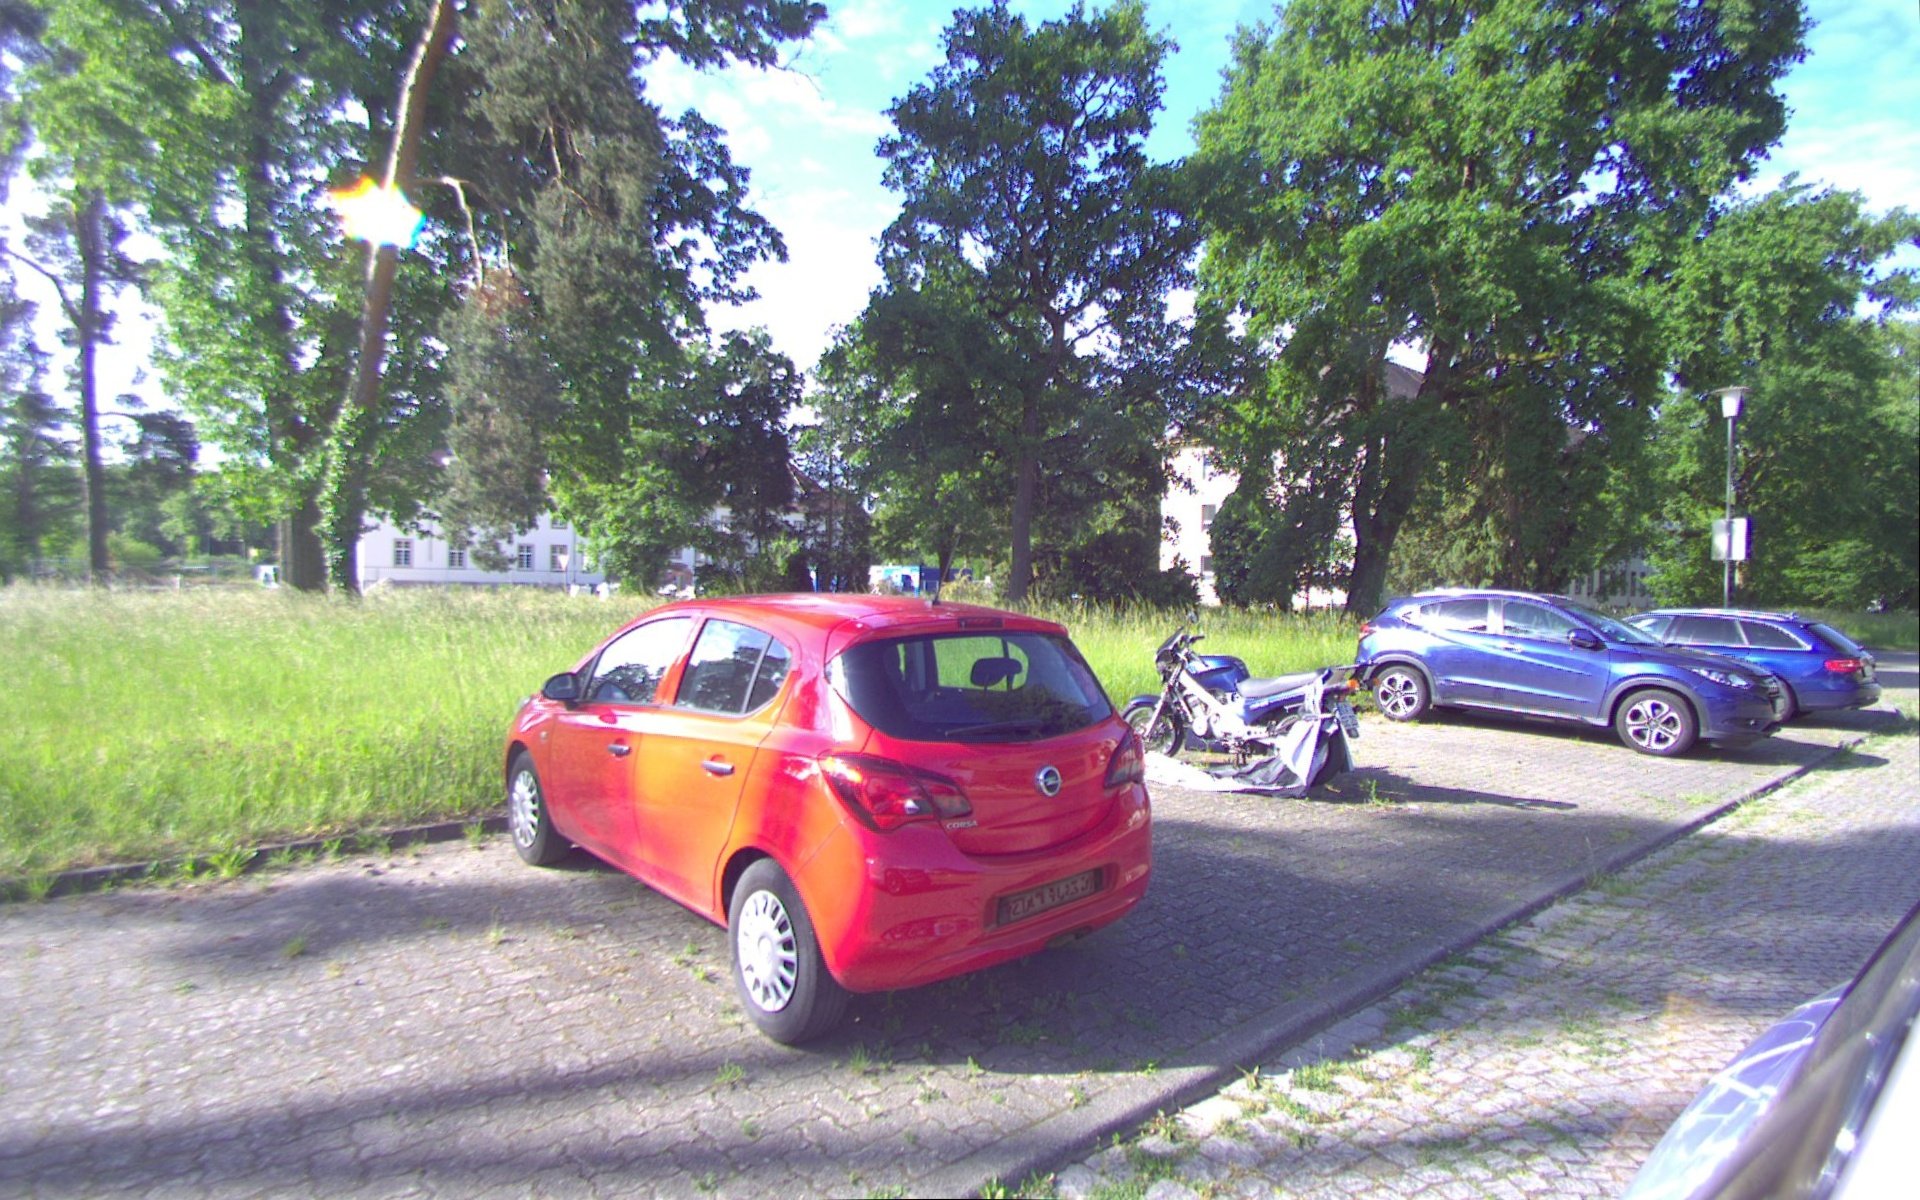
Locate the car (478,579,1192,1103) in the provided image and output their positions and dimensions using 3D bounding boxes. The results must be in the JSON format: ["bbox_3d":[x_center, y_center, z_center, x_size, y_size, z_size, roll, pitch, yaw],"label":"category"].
[{"bbox_3d":[-0.971,0.667,4.949,1.513,1.514,3.994,0,1,-41],"label":"car"}]

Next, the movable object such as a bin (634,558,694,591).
[{"bbox_3d":[-27.592,-2.360,94.448,4.975,2.937,2.182,0,1,-34],"label":"movable object such as a bin"}]

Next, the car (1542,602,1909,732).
[{"bbox_3d":[10.519,0.803,14.132,1.716,1.485,3.808,0,1,-39],"label":"car"}]

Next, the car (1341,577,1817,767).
[{"bbox_3d":[6.730,0.625,11.428,1.622,1.618,4.271,0,2,-41],"label":"car"}]

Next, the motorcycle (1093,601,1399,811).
[{"bbox_3d":[2.171,0.722,8.007,0.863,1.370,2.235,1,1,-38],"label":"motorcycle"}]

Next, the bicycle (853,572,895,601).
[{"bbox_3d":[-6.251,-1.022,73.633,3.078,2.038,0.952,-2,2,-42],"label":"bicycle"}]
